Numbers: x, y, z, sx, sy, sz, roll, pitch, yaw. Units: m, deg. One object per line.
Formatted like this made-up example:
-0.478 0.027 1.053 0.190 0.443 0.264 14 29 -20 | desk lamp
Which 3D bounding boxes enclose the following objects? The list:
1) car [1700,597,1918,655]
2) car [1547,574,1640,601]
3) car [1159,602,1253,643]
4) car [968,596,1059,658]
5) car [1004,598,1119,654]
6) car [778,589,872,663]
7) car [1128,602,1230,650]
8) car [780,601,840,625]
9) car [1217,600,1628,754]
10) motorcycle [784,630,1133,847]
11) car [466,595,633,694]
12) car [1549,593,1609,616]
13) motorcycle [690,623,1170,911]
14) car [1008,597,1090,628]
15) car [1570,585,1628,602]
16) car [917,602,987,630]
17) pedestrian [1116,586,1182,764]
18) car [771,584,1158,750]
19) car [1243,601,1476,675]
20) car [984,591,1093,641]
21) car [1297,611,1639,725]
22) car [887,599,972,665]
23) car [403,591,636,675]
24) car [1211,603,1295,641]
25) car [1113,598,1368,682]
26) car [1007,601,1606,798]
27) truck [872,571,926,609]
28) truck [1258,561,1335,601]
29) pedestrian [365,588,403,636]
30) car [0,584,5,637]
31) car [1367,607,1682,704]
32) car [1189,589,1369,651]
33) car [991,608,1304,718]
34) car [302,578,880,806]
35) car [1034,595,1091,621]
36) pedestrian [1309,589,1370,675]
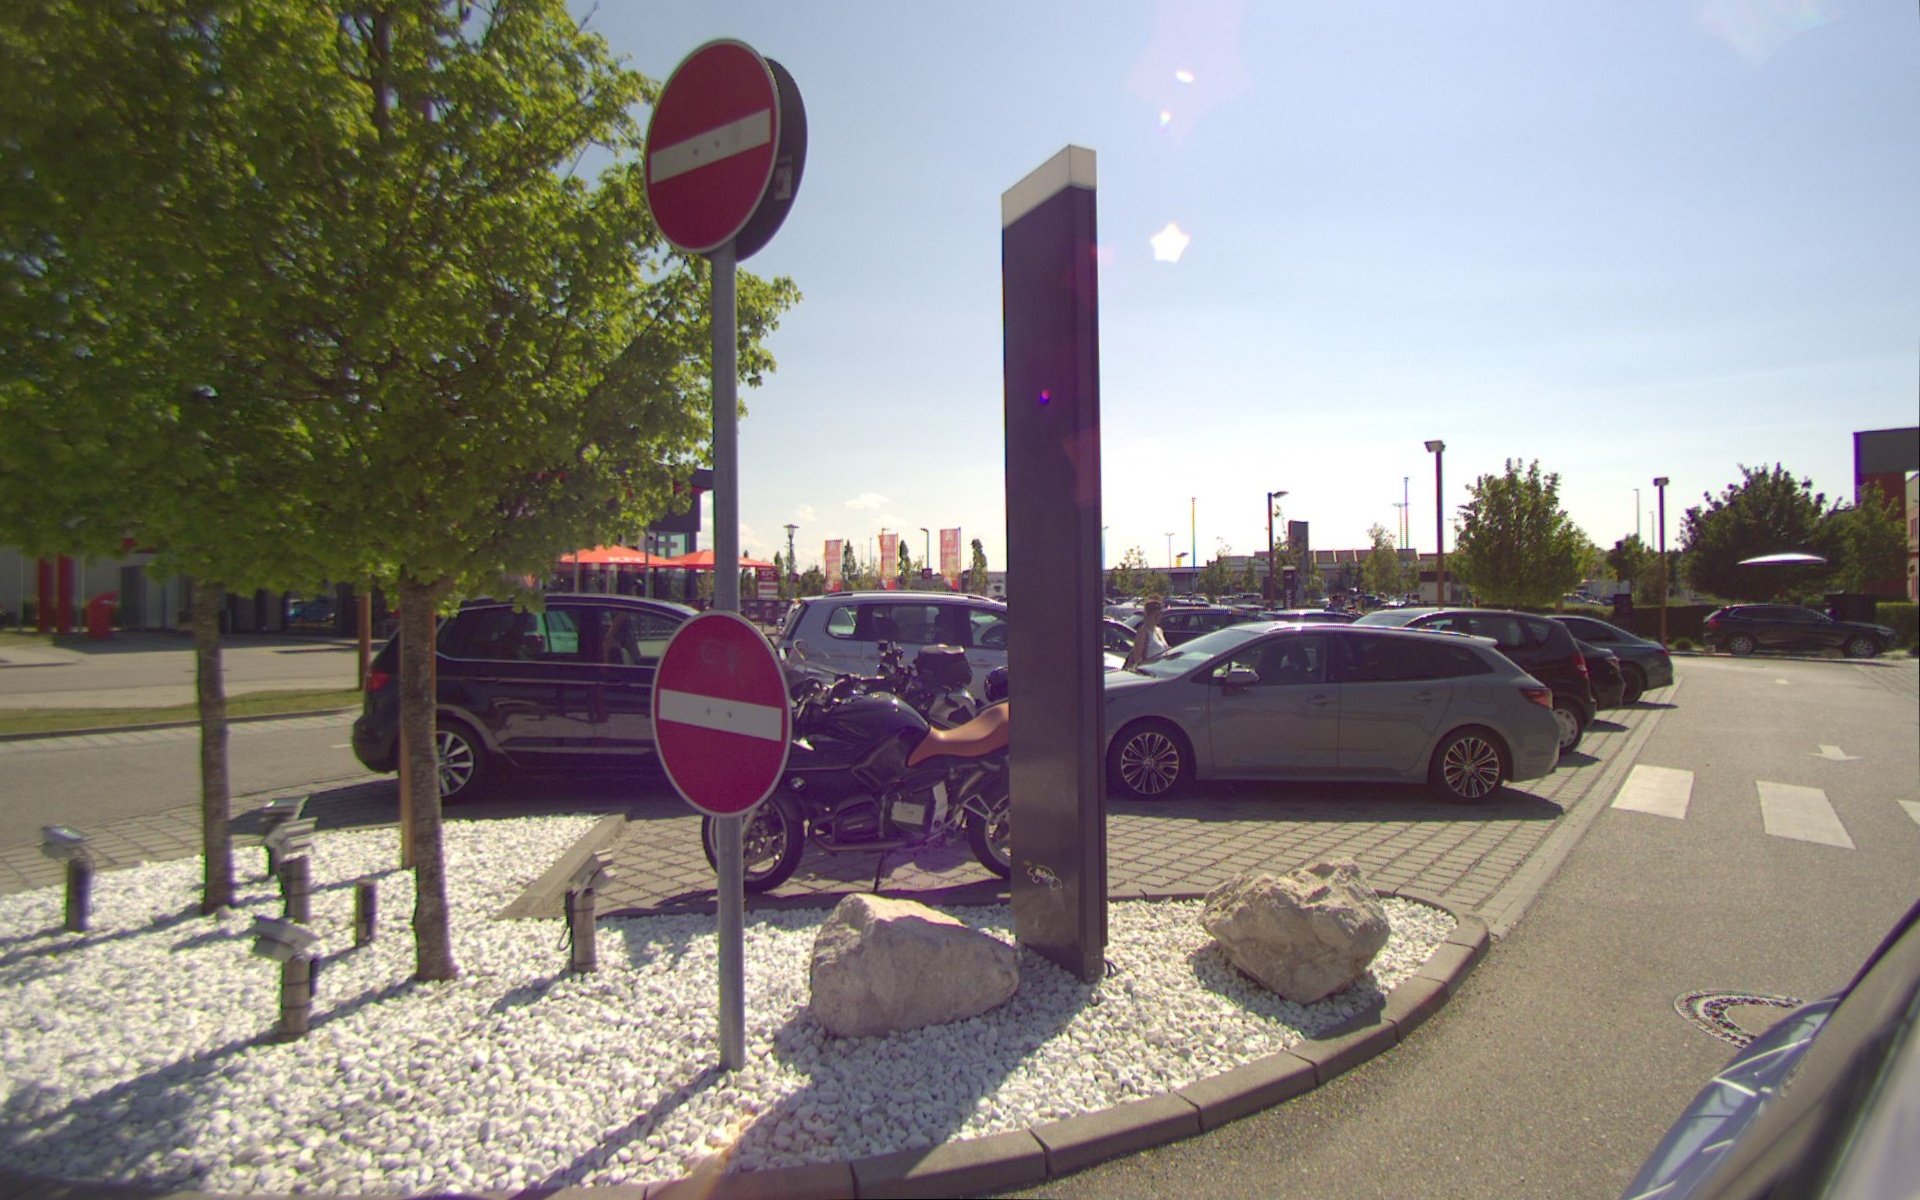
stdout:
26.007 0.739 31.300 5.035 1.650 1.899 0 0 37 | car
53.576 -1.019 85.688 6.536 2.272 2.269 0 0 38 | car
9.275 0.802 38.492 1.760 1.440 4.094 0 0 -14 | car
1.333 0.666 26.928 1.784 1.508 4.004 0 0 -6 | car
2.948 0.722 30.412 1.741 1.530 4.361 0 0 -20 | car
-3.135 0.530 22.838 1.874 1.490 4.479 0 0 -11 | car
7.626 0.855 35.686 1.768 1.576 4.063 0 0 -17 | car
-9.897 0.815 67.055 3.693 1.531 1.683 0 0 -44 | car
5.204 0.816 11.730 3.920 1.613 1.813 0 0 -4 | car
-0.033 0.832 6.524 2.096 1.247 0.822 1 -1 -14 | motorcycle
-6.700 0.651 16.969 1.806 1.444 4.193 0 0 -11 | car
48.556 0.350 79.425 3.973 1.750 1.871 0 0 35 | car
-0.185 0.775 5.189 2.205 1.267 1.072 2 -2 -10 | motorcycle
4.393 0.589 49.716 1.882 1.416 4.089 0 0 44 | car
52.322 -0.534 82.939 3.887 1.359 1.642 0 0 38 | car
-0.415 0.846 55.112 3.693 1.472 1.683 0 0 -44 | car
1.891 0.732 10.192 0.553 1.735 0.610 0 -1 1 | pedestrian
-0.014 0.688 11.236 3.985 1.661 1.750 0 0 -7 | car
8.698 0.790 22.275 4.328 1.530 1.986 0 0 -6 | car
3.030 0.565 38.263 2.062 1.772 4.305 0 0 39 | car
7.148 0.914 14.492 3.994 1.467 1.830 0 0 -5 | car
-0.804 0.686 23.950 1.784 1.421 4.004 0 0 -5 | car
-8.820 0.634 20.539 4.005 1.596 1.759 0 0 -5 | car
11.873 0.856 41.261 1.874 1.440 3.781 0 0 -8 | car
5.349 0.724 19.670 4.328 1.530 1.986 0 0 -6 | car
2.825 0.802 8.871 4.569 1.465 1.837 1 -1 -5 | car
-6.653 -1.012 109.000 3.143 3.915 9.148 0 0 -21 | truck
29.444 -1.632 88.961 2.371 3.394 7.582 0 1 -18 | truck
-18.029 0.367 31.699 0.767 1.453 0.790 0 0 35 | pedestrian
-32.636 0.336 31.242 1.629 1.707 4.332 0 0 33 | car
9.623 0.904 17.455 4.451 1.530 1.889 0 0 -6 | car
7.721 0.481 24.699 3.826 1.444 1.708 0 0 -4 | car
2.561 0.849 14.392 3.999 1.426 1.796 1 0 -7 | car
-2.789 0.651 8.439 4.106 1.556 1.898 -1 0 -7 | car
8.560 0.660 84.986 1.962 2.039 5.023 0 1 -34 | car
8.877 0.728 23.677 0.886 1.940 1.027 0 -1 -40 | pedestrian
